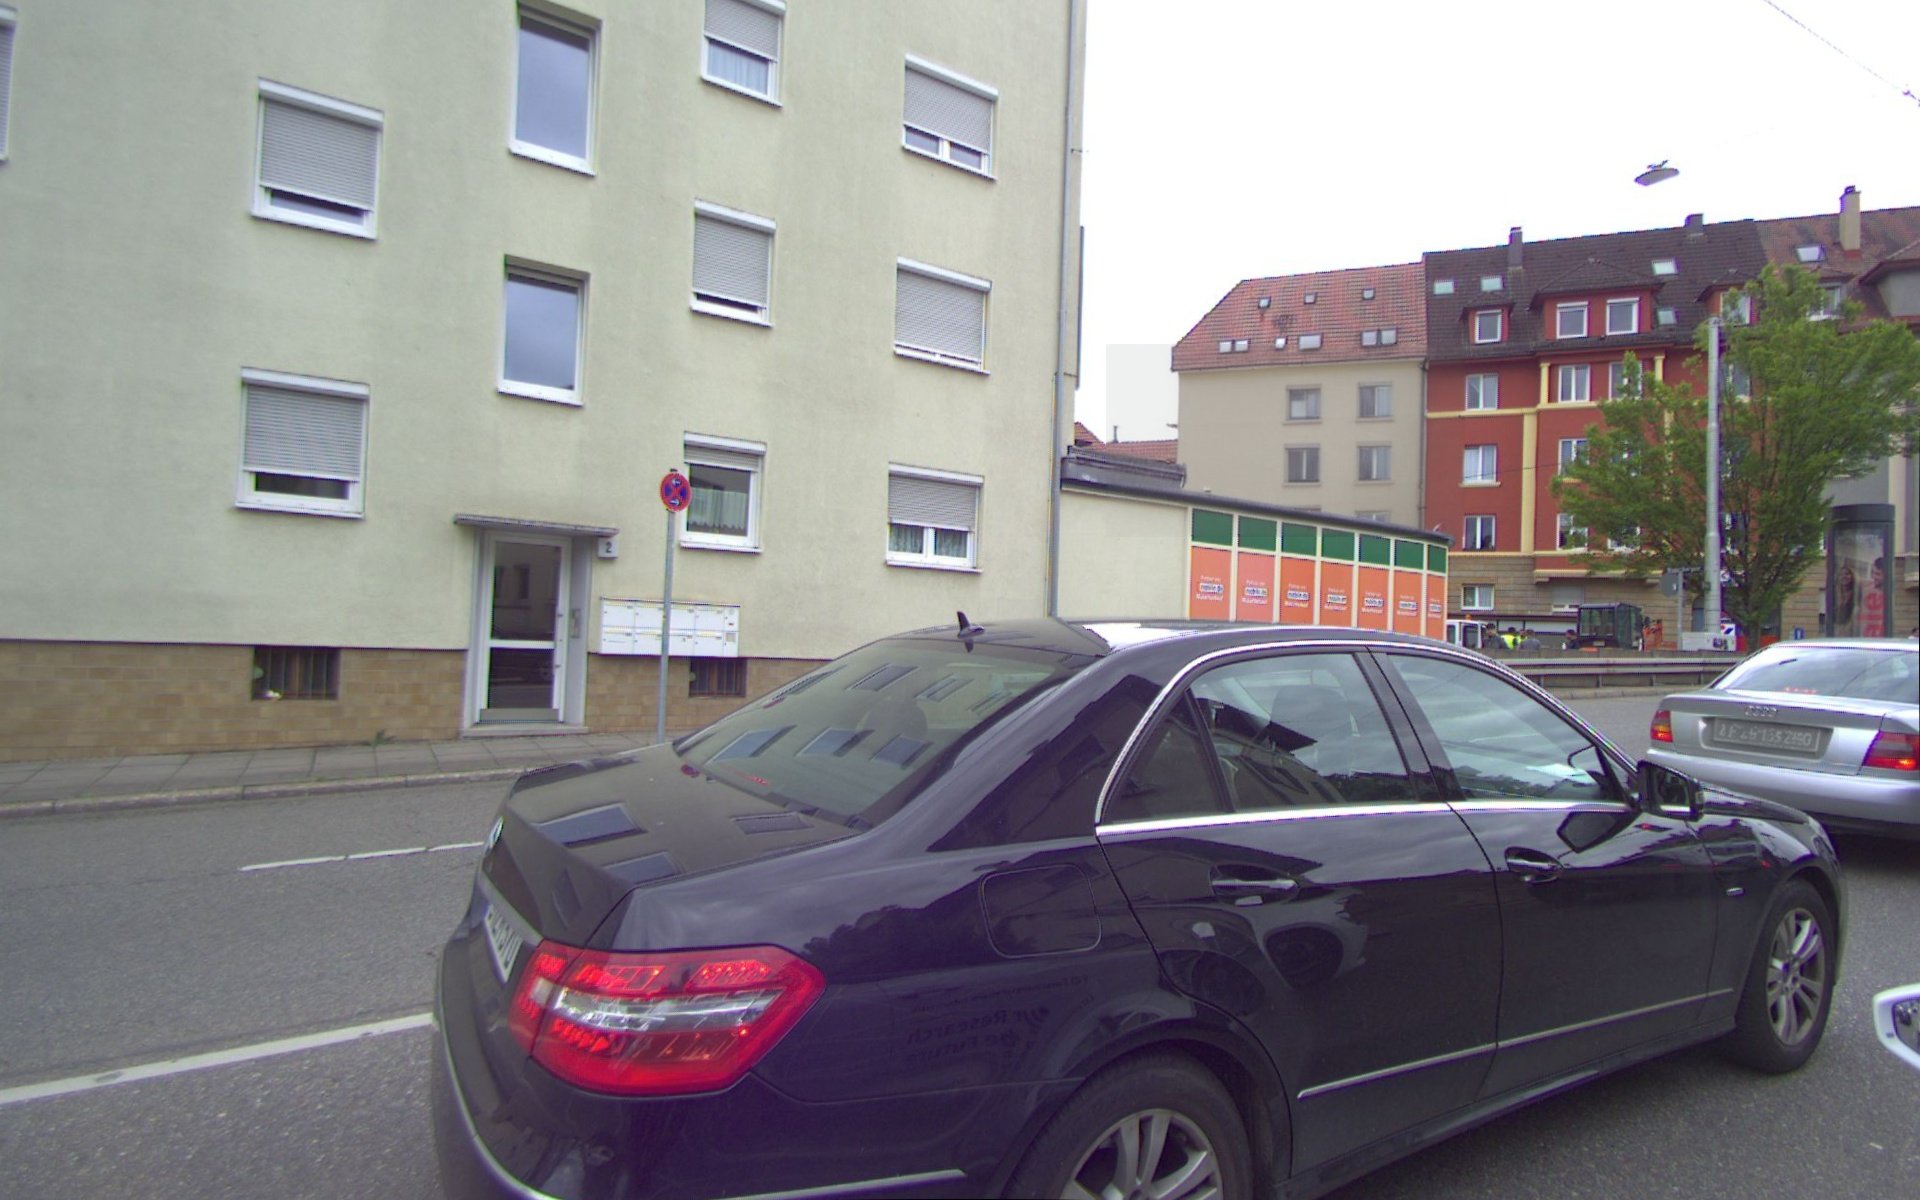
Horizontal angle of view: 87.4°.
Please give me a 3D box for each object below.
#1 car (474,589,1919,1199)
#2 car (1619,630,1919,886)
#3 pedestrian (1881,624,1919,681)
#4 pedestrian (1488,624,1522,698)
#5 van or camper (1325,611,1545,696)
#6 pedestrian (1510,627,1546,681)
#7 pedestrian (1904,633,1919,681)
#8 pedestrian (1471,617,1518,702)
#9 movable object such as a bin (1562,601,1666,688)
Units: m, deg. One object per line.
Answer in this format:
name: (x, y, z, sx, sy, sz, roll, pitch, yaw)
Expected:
car: (1.086, 0.775, 3.393, 4.785, 1.447, 1.984, 1, -2, -30)
car: (6.719, 0.918, 7.093, 4.073, 1.383, 1.623, 1, -2, -26)
pedestrian: (26.810, 1.477, 28.427, 0.724, 1.567, 0.794, 0, -1, -3)
pedestrian: (15.485, 1.718, 28.547, 0.811, 2.040, 0.679, 0, 0, 29)
van or camper: (14.545, 1.571, 31.029, 5.894, 2.369, 2.686, 0, -1, 26)
pedestrian: (14.761, 1.384, 26.103, 0.613, 1.381, 0.602, 0, -1, 4)
pedestrian: (27.501, 1.635, 28.665, 0.572, 1.356, 0.576, 0, -1, 5)
pedestrian: (10.641, 1.168, 19.997, 0.680, 1.658, 0.775, 0, -1, 40)
movable object such as a bin: (16.563, 1.106, 25.393, 3.510, 2.040, 1.363, 2, -2, -42)
